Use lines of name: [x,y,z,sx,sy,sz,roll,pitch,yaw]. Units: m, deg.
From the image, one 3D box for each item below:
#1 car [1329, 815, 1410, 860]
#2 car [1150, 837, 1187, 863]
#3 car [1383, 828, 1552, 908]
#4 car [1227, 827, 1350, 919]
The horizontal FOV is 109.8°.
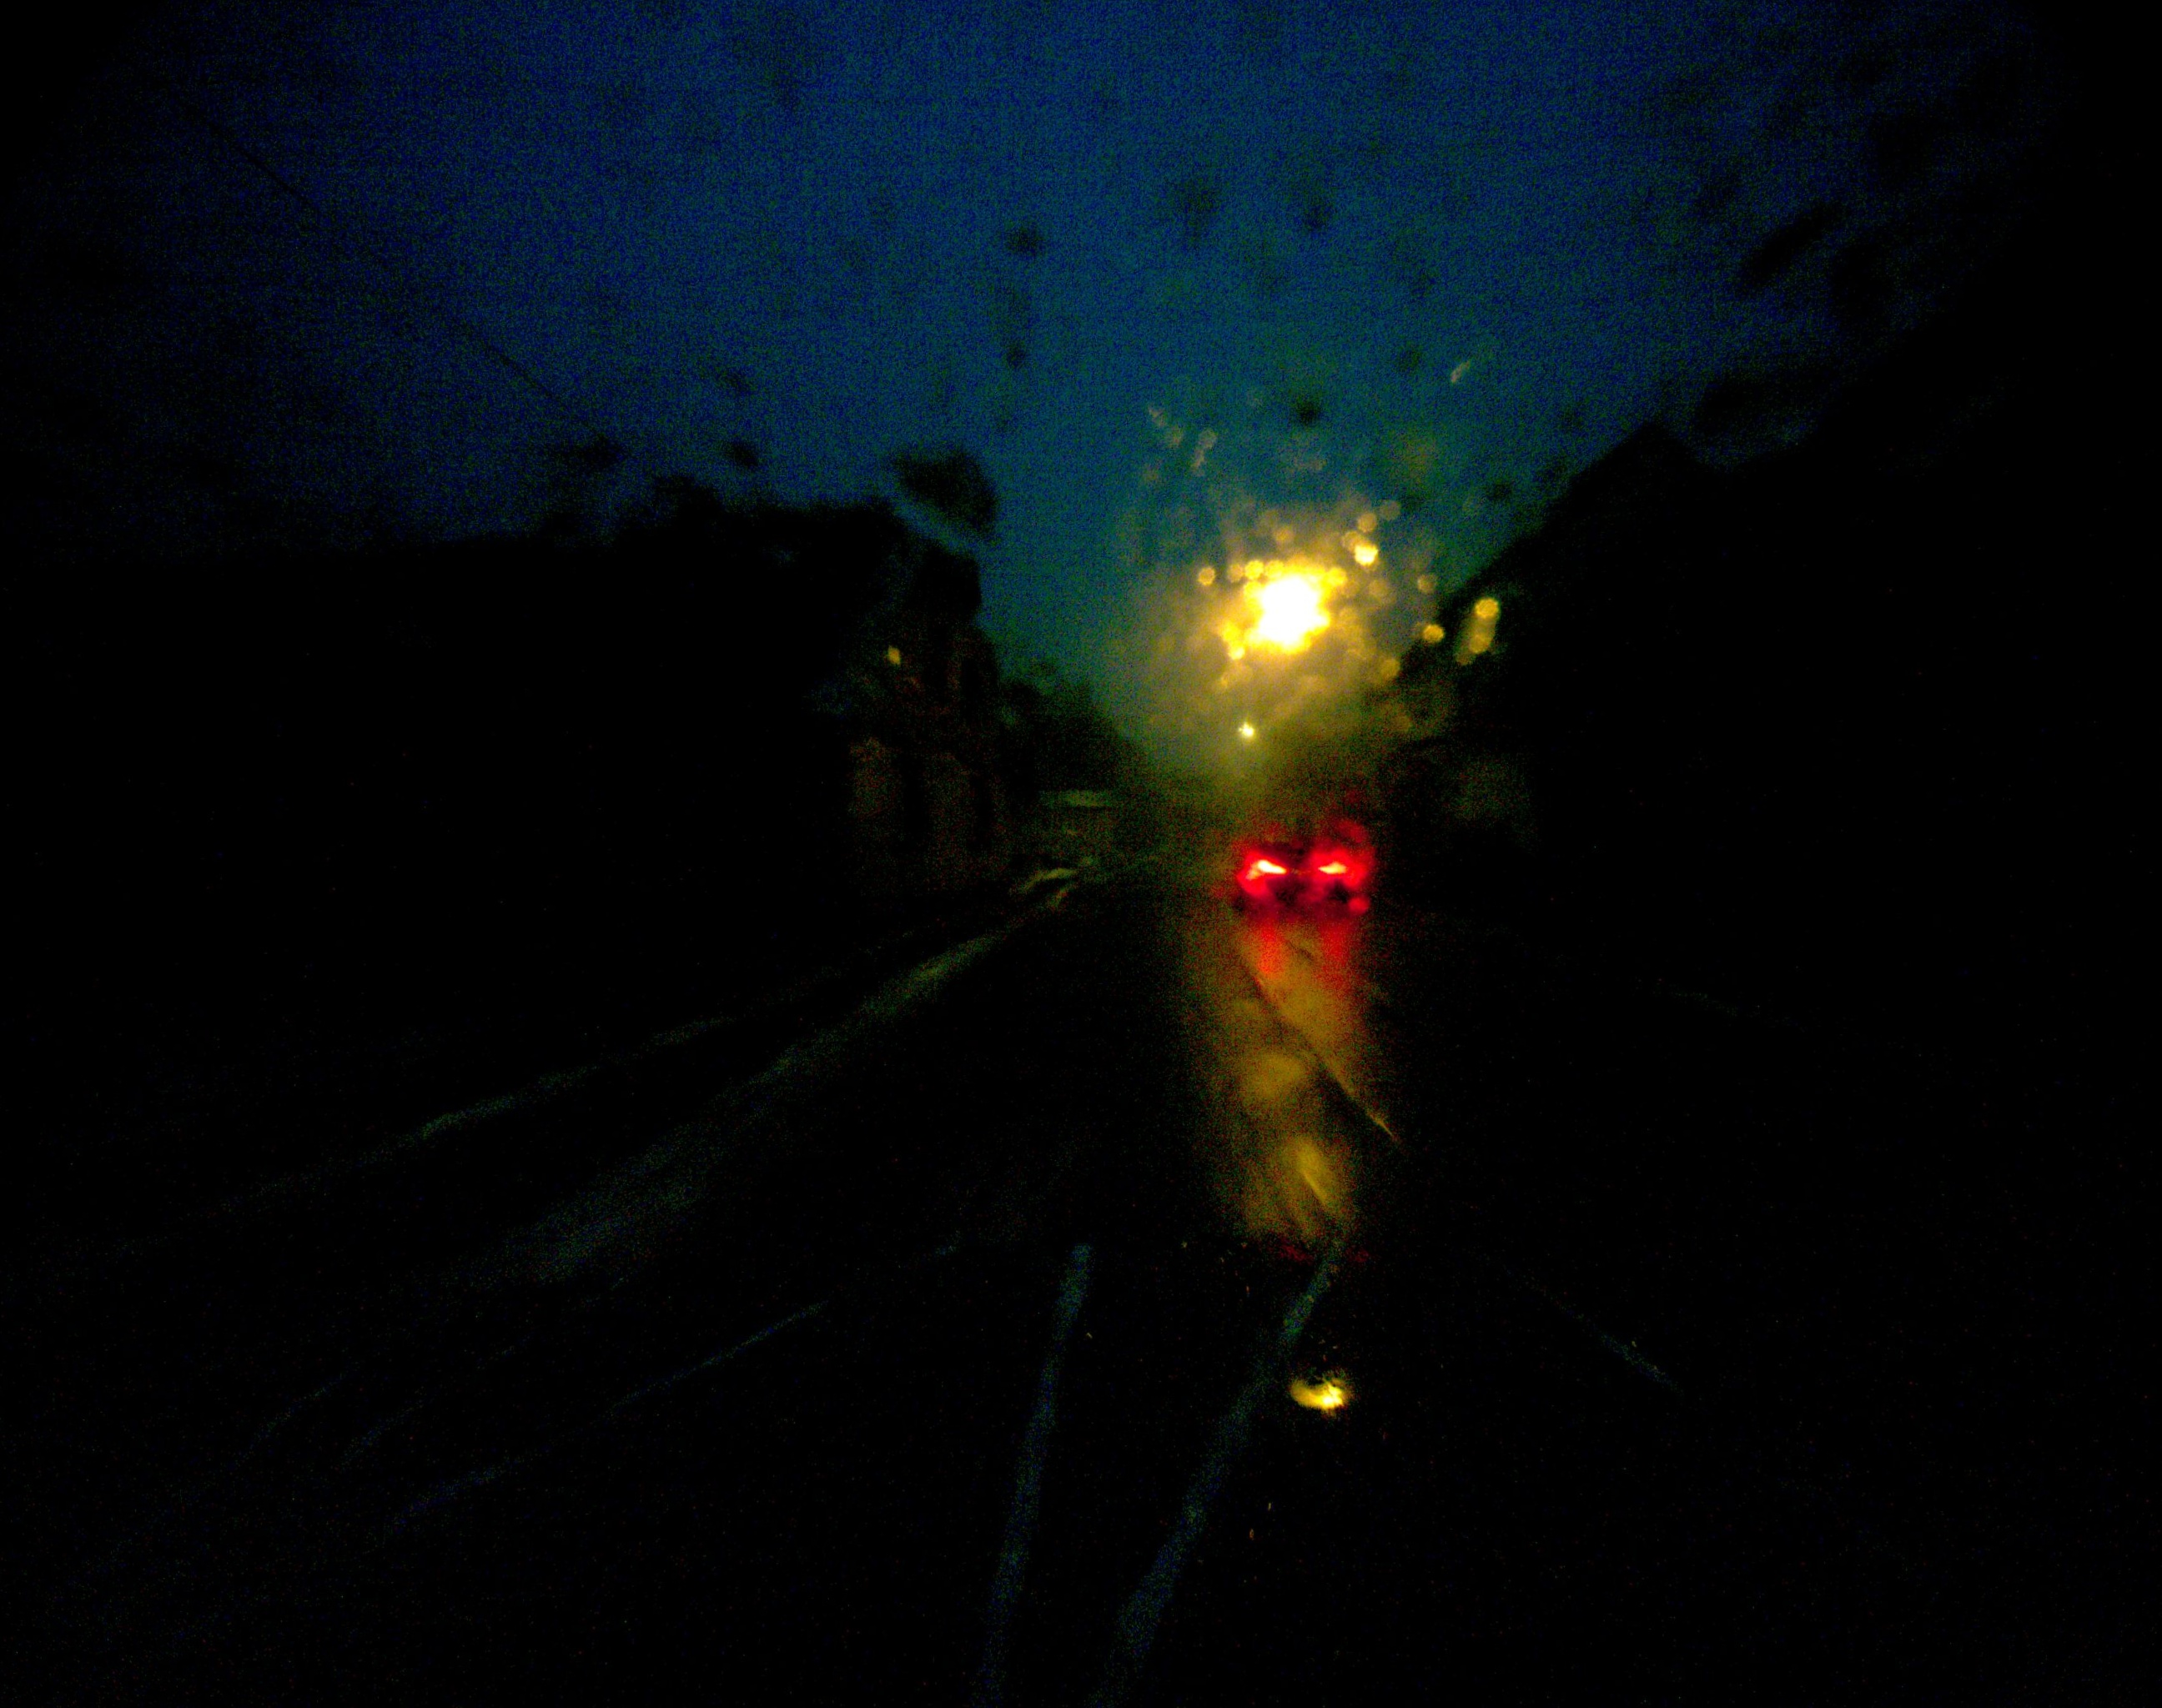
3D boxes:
car: [12.934,-0.692,34.389,1.769,1.726,4.639,-6,0,0]
car: [5.698,-0.295,49.256,1.913,1.473,4.284,-1,3,12]
car: [8.549,0.247,17.285,1.998,1.514,4.192,-3,1,6]
car: [4.358,0.289,16.659,1.844,1.678,4.477,-1,3,5]
